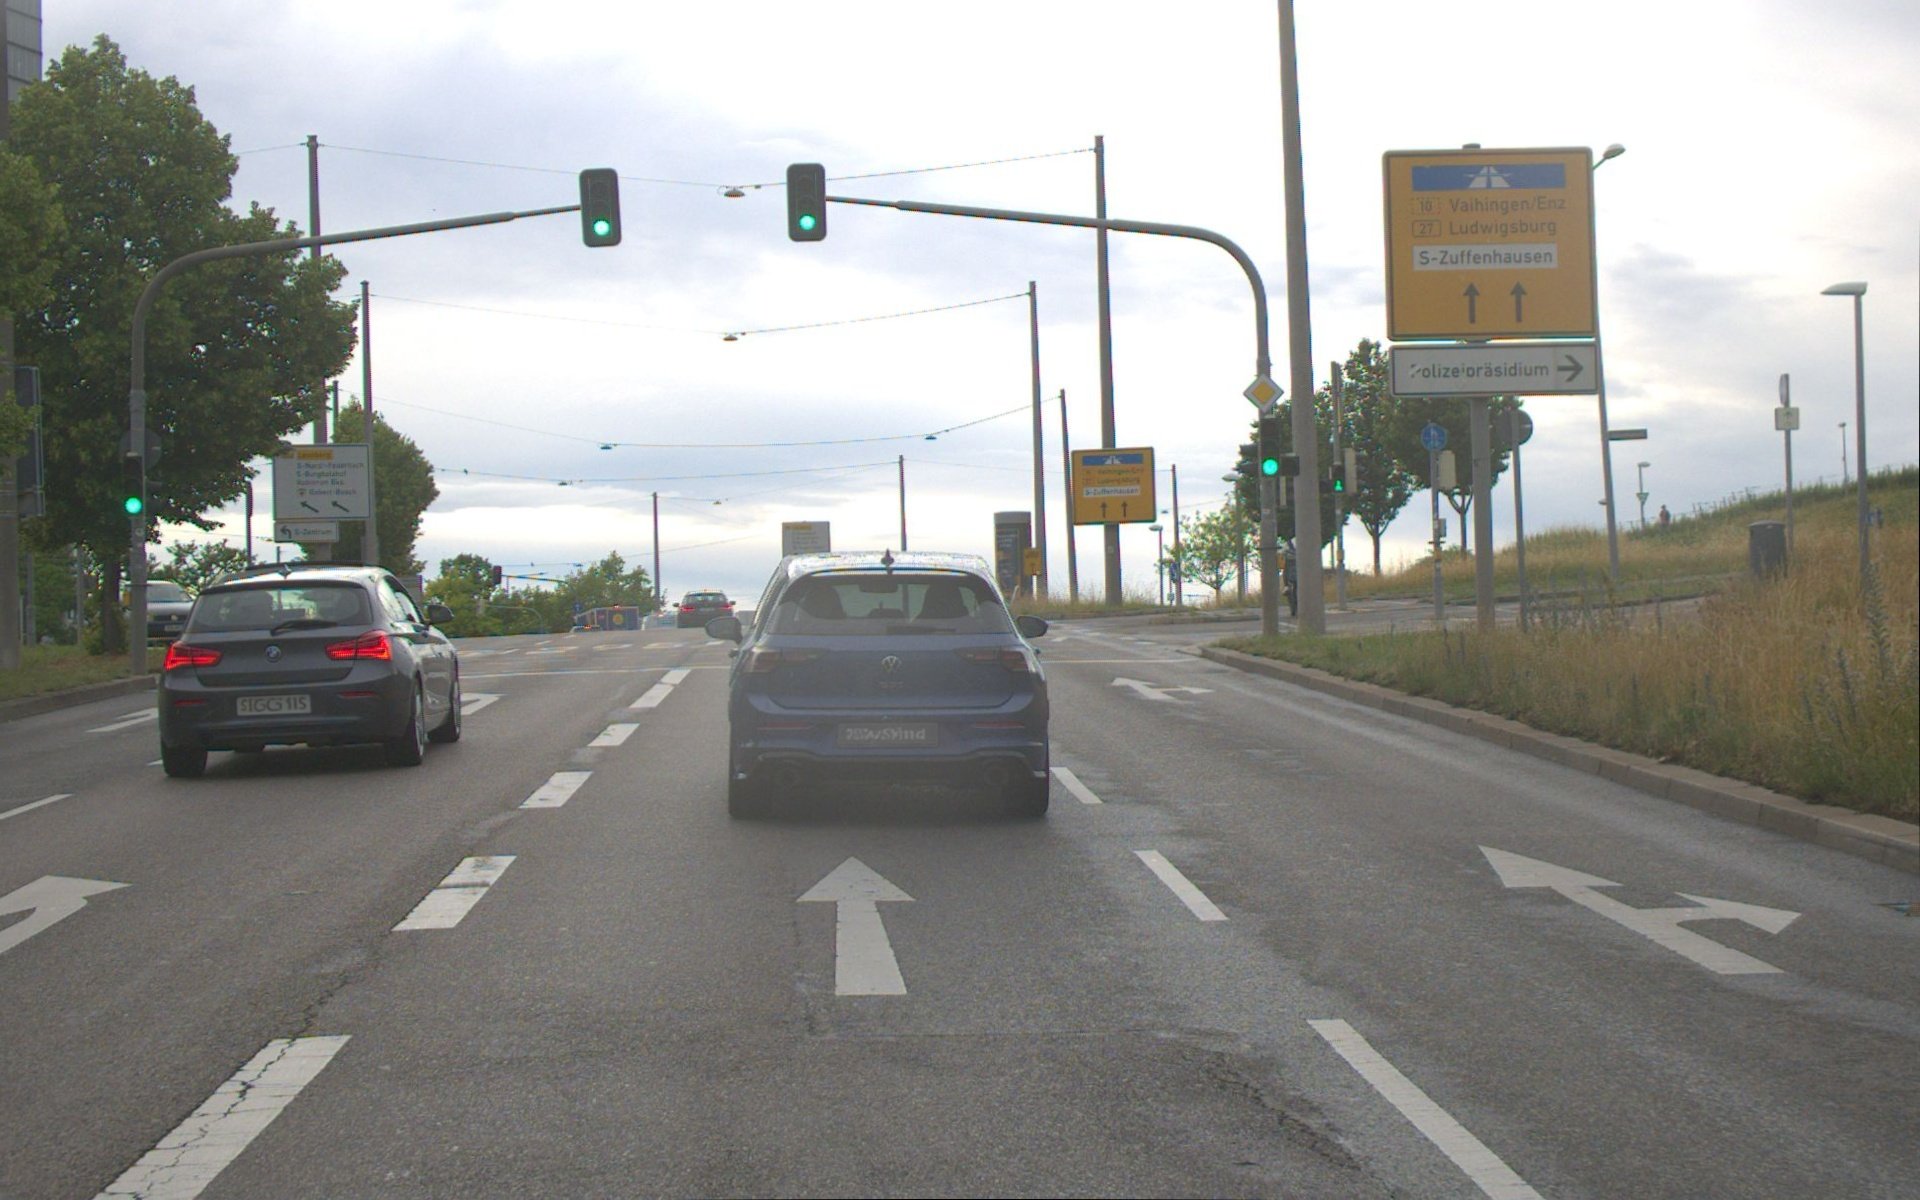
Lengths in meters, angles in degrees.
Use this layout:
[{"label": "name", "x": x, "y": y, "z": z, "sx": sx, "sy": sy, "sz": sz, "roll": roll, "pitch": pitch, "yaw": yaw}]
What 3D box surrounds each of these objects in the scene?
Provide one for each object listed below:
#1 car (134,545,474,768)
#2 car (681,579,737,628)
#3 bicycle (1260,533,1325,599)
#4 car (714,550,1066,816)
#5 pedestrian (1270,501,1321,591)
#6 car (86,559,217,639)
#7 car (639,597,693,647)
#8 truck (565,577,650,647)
[{"label": "car", "x": -4.669, "y": 0.351, "z": 24.987, "sx": 1.869, "sy": 1.456, "sz": 3.976, "roll": -1, "pitch": 1, "yaw": -3}, {"label": "car", "x": -8.175, "y": 0.095, "z": 111.762, "sx": 1.721, "sy": 1.536, "sz": 3.704, "roll": 1, "pitch": 1, "yaw": -6}, {"label": "bicycle", "x": 6.117, "y": -0.637, "z": 63.316, "sx": 0.632, "sy": 1.101, "sz": 1.754, "roll": -5, "pitch": 3, "yaw": -11}, {"label": "car", "x": -0.424, "y": 0.406, "z": 19.994, "sx": 1.838, "sy": 1.389, "sz": 4.000, "roll": 0, "pitch": 1, "yaw": -2}, {"label": "pedestrian", "x": 6.151, "y": -1.000, "z": 63.023, "sx": 0.632, "sy": 1.565, "sz": 0.896, "roll": -4, "pitch": 4, "yaw": -9}, {"label": "car", "x": -16.746, "y": -0.047, "z": 71.088, "sx": 1.889, "sy": 1.502, "sz": 4.001, "roll": -1, "pitch": 2, "yaw": -24}, {"label": "car", "x": -13.074, "y": 0.986, "z": 152.490, "sx": 1.904, "sy": 1.966, "sz": 5.093, "roll": -2, "pitch": -2, "yaw": -10}, {"label": "truck", "x": -17.305, "y": 0.631, "z": 168.589, "sx": 2.665, "sy": 3.209, "sz": 6.550, "roll": 0, "pitch": -2, "yaw": -20}]
